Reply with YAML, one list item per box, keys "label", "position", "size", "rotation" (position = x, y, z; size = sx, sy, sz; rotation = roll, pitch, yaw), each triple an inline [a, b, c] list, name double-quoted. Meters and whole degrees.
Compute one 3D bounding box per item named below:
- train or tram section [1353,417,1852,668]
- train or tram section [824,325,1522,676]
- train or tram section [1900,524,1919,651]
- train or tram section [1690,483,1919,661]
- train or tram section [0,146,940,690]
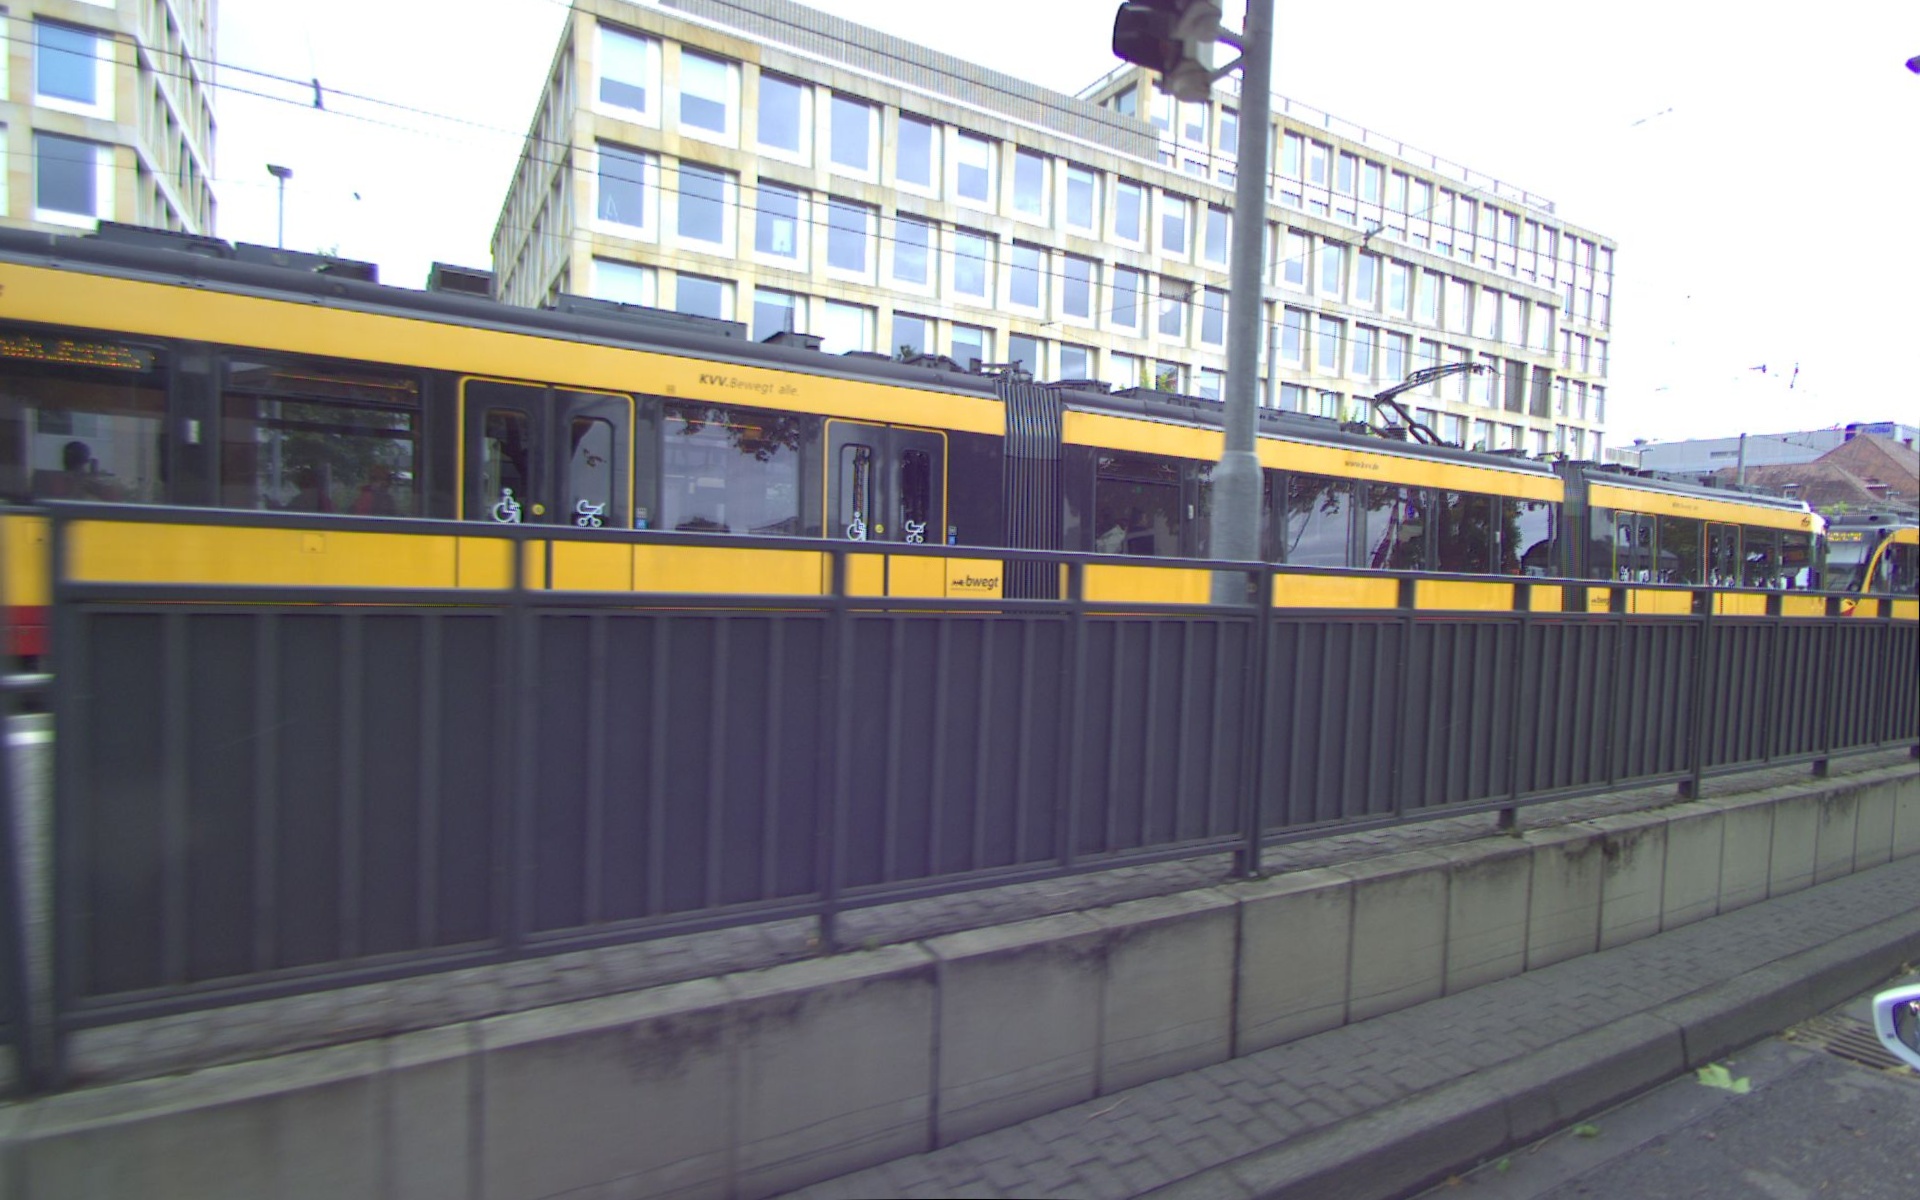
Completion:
- label: "train or tram section"
  position: [14.380, -0.859, 21.707]
  size: [13.460, 4.235, 3.165]
  rotation: [2, 2, -30]
- label: "train or tram section"
  position: [3.757, -1.022, 15.416]
  size: [11.178, 3.914, 3.148]
  rotation: [2, 2, -30]
- label: "train or tram section"
  position: [38.928, -0.187, 36.215]
  size: [14.561, 4.235, 3.164]
  rotation: [2, 2, -30]
- label: "train or tram section"
  position: [26.441, -0.541, 28.834]
  size: [14.561, 4.235, 3.164]
  rotation: [2, 2, -30]
- label: "train or tram section"
  position: [-5.898, -1.310, 9.742]
  size: [11.178, 3.914, 3.221]
  rotation: [2, 2, -30]
